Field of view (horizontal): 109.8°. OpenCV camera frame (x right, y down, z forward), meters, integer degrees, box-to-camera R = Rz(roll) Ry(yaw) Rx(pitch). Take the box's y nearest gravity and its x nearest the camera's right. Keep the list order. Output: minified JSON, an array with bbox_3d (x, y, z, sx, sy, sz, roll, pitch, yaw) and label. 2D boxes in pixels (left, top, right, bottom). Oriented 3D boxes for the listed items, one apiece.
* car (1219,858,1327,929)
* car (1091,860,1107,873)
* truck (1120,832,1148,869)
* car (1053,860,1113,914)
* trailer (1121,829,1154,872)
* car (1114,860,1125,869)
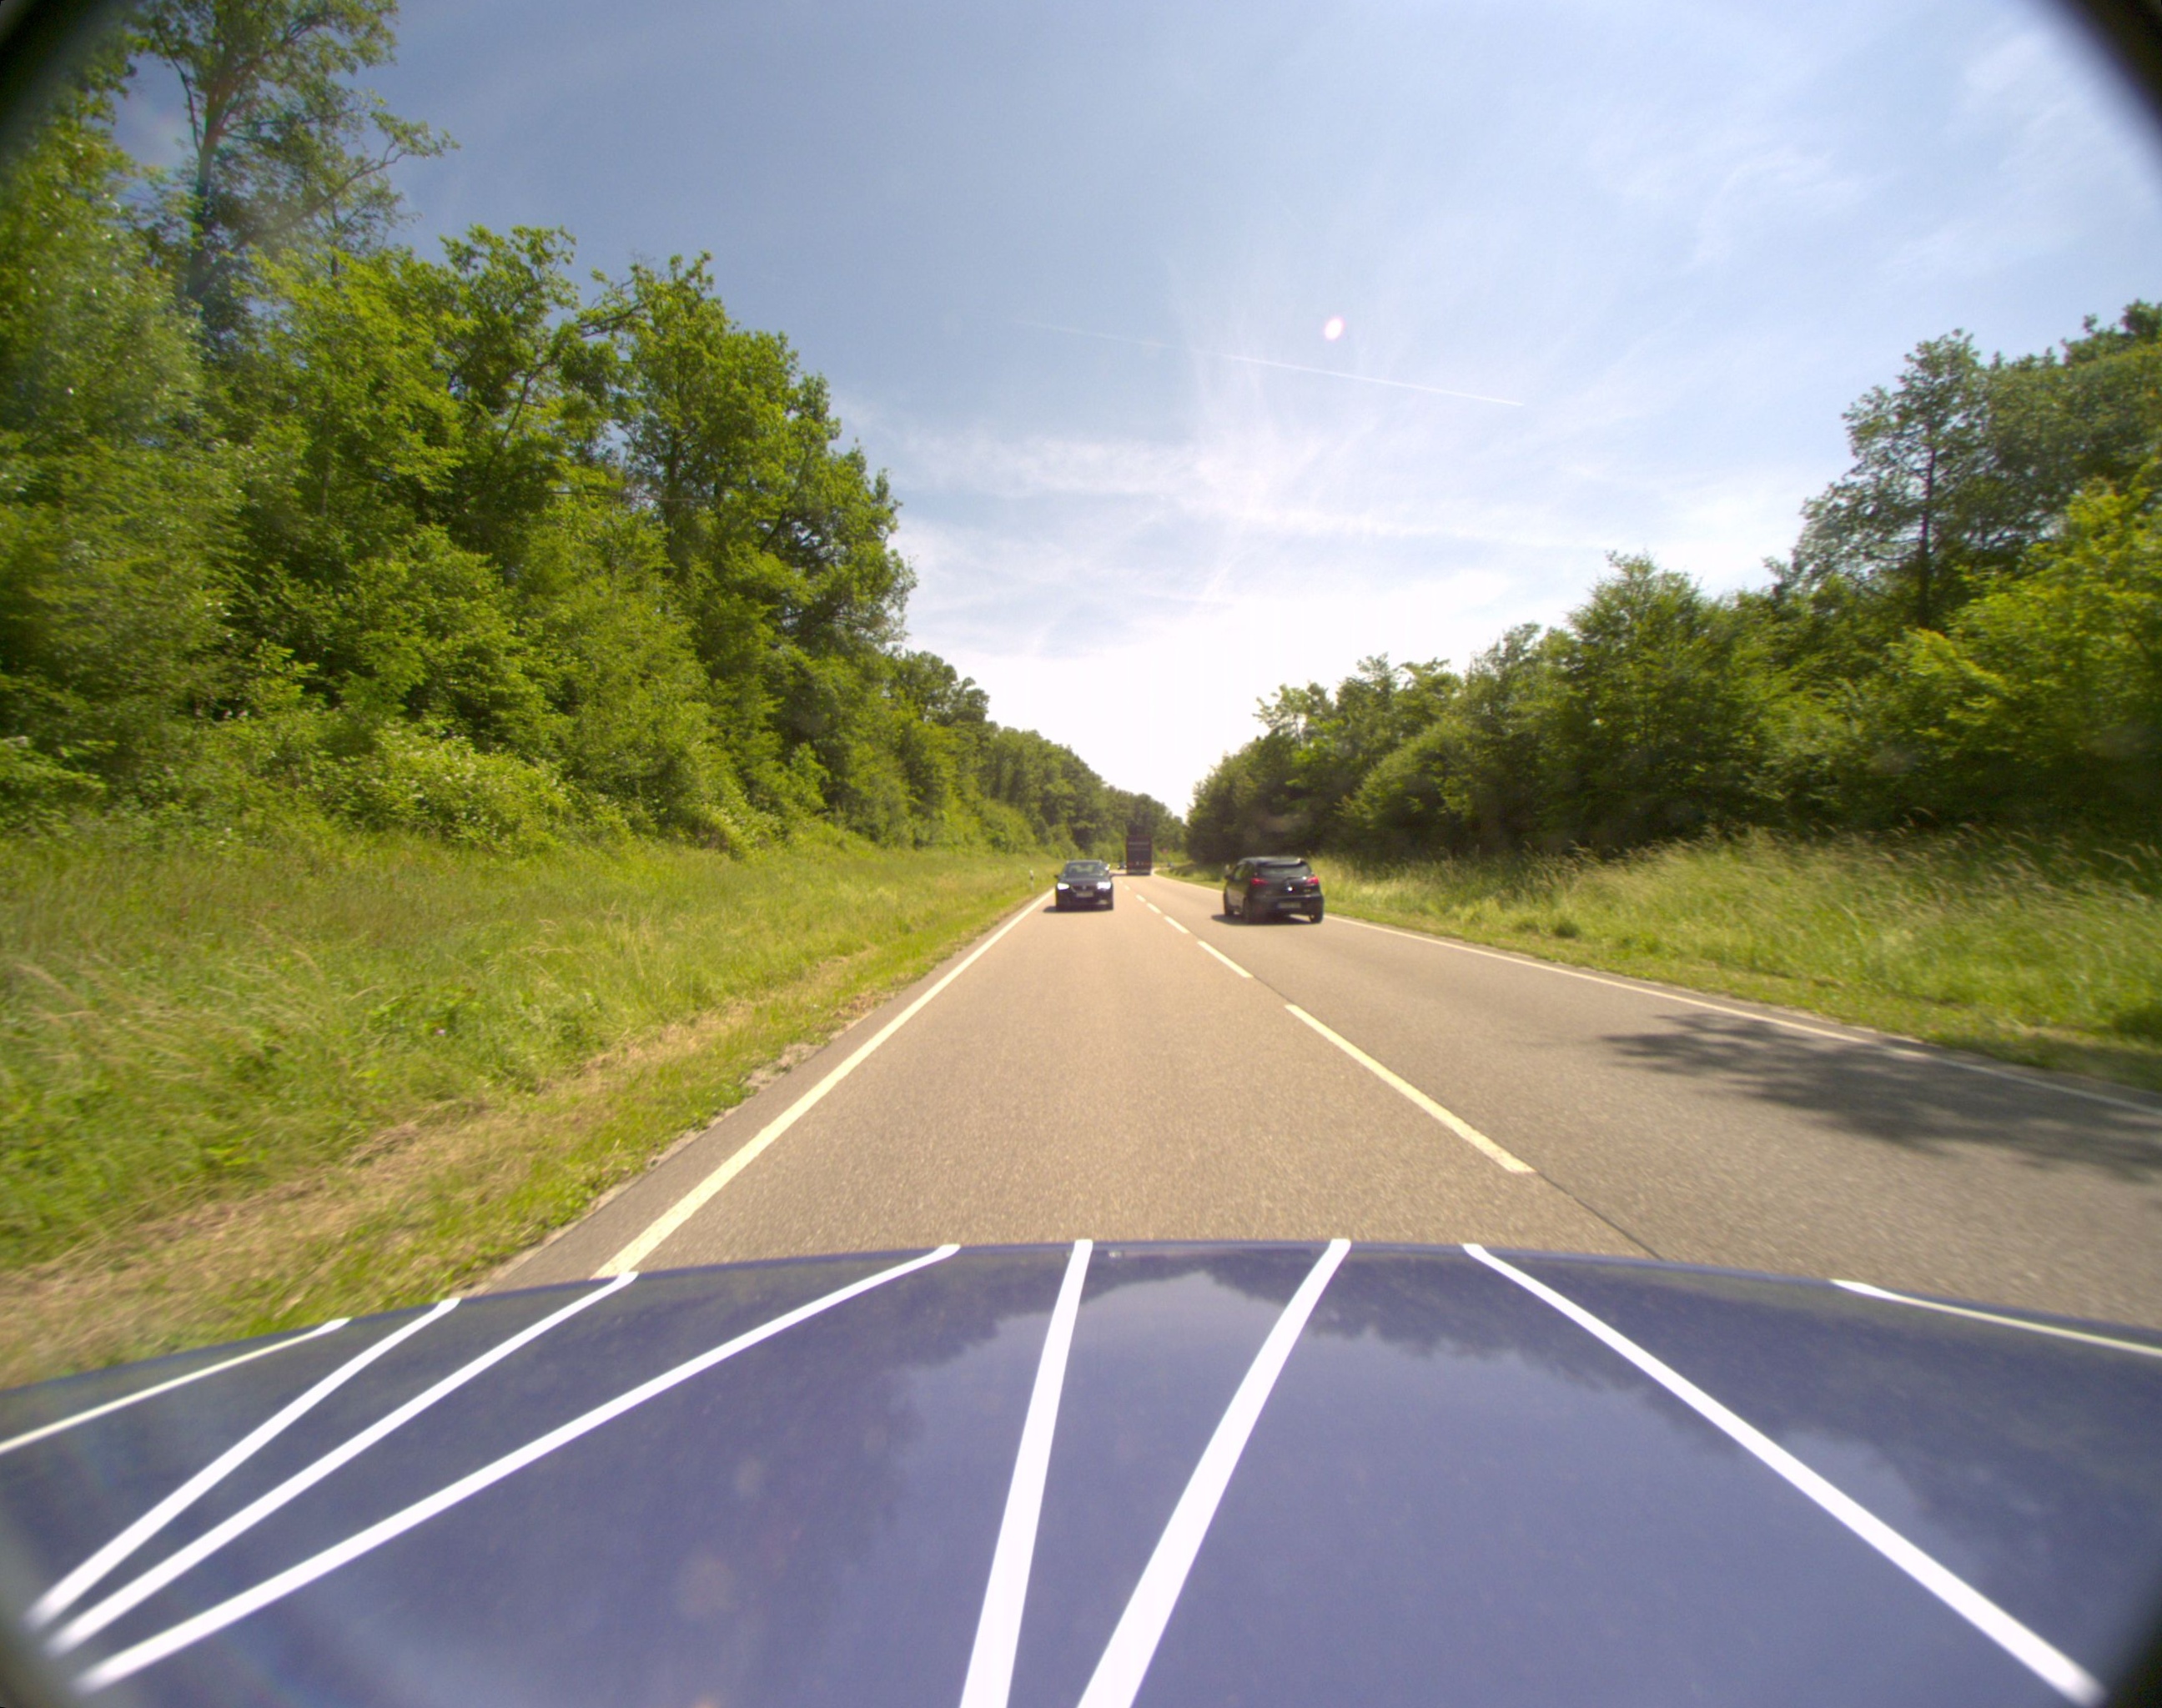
[{"bbox_3d":[4.454,0.854,18.169,1.665,1.486,3.805,-1,0,1],"label":"car"},{"bbox_3d":[2.118,1.457,87.137,1.776,1.454,3.949,0,0,2],"label":"car"},{"bbox_3d":[6.093,-0.400,88.047,2.929,4.191,5.343,0,1,2],"label":"truck"},{"bbox_3d":[0.148,0.987,24.188,1.713,1.516,4.243,-1,-1,2],"label":"car"},{"bbox_3d":[5.889,-0.375,81.459,2.949,4.228,13.620,0,0,2],"label":"trailer"},{"bbox_3d":[6.806,1.886,135.630,1.775,1.454,4.002,0,0,6],"label":"car"}]
